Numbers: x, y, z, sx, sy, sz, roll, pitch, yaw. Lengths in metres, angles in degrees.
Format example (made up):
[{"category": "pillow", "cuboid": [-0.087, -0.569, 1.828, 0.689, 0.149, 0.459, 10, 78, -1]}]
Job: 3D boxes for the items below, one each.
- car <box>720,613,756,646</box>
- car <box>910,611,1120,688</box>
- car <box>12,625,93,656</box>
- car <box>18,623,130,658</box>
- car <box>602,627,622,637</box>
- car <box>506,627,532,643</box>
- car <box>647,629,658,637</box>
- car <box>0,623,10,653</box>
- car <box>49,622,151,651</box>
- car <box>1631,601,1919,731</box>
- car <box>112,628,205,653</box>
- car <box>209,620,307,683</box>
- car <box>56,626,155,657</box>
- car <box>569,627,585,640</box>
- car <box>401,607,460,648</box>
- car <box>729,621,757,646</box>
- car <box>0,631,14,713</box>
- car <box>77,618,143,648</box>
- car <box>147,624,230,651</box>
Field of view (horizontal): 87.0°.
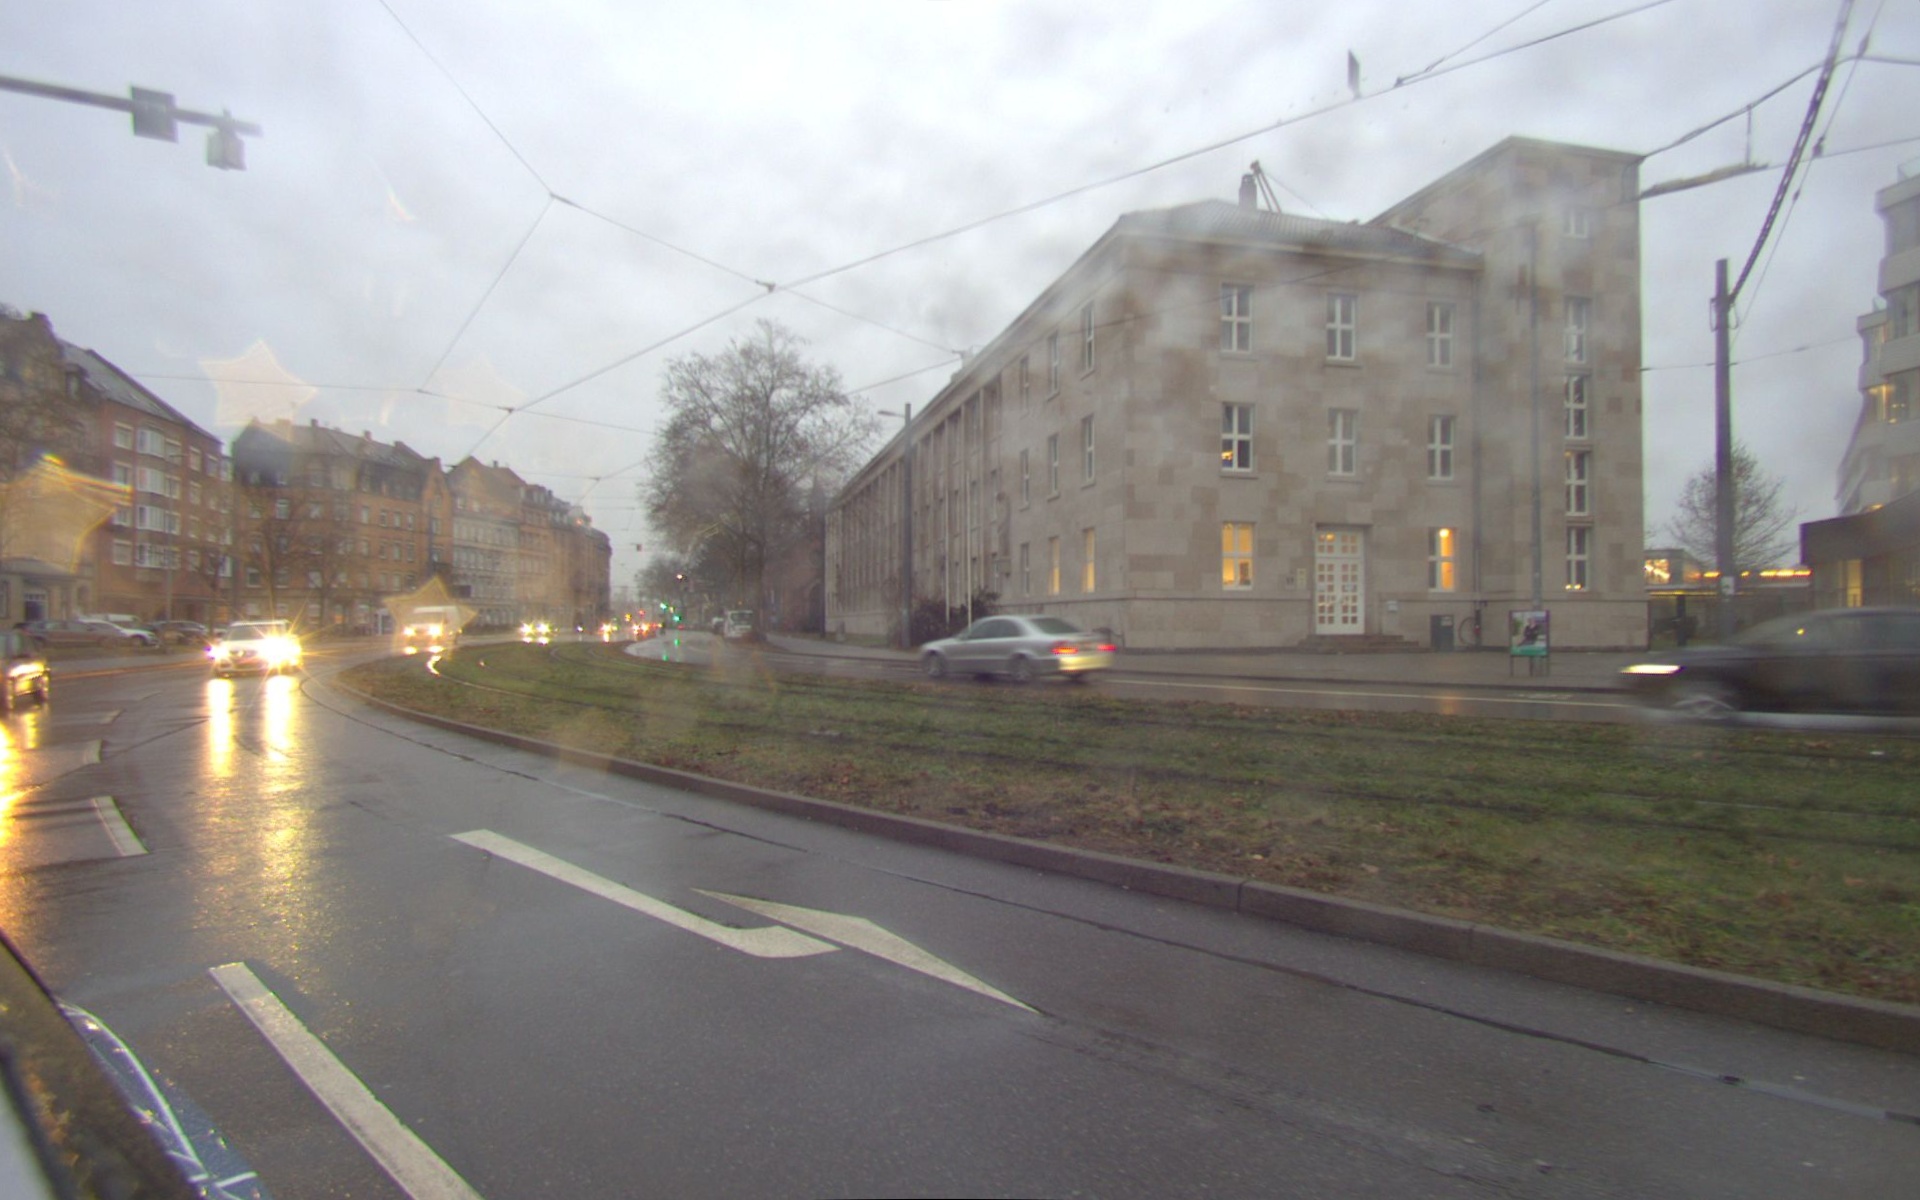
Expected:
[{"category": "car", "cuboid": [-14.568, 1.886, 66.176, 1.966, 2.029, 4.522, -2, 0, -15]}, {"category": "car", "cuboid": [1.093, 1.035, 22.218, 1.799, 1.446, 4.661, -2, 0, -42]}, {"category": "car", "cuboid": [-51.969, 2.288, 58.035, 1.666, 1.554, 4.010, -2, 0, -12]}, {"category": "car", "cuboid": [-40.844, 1.838, 46.698, 3.816, 1.416, 1.696, -2, 0, -44]}, {"category": "car", "cuboid": [-48.413, 4.464, 140.937, 1.867, 1.424, 3.953, 0, -2, -8]}, {"category": "car", "cuboid": [-47.774, 3.804, 109.750, 1.625, 1.763, 3.560, 0, -2, -7]}, {"category": "car", "cuboid": [-71.673, 7.695, 235.956, 1.923, 1.829, 4.006, 0, -1, -7]}, {"category": "car", "cuboid": [-50.591, 1.947, 51.507, 1.449, 1.555, 3.881, 0, -2, -12]}, {"category": "car", "cuboid": [-41.847, 1.744, 49.368, 3.706, 1.342, 1.605, 1, -2, -39]}, {"category": "car", "cuboid": [10.926, 0.753, 12.253, 4.518, 1.411, 1.640, -2, 0, 39]}, {"category": "car", "cuboid": [-42.597, 2.133, 53.826, 3.711, 1.288, 1.602, 1, -2, -45]}, {"category": "car", "cuboid": [-20.821, 1.461, 30.153, 1.646, 1.672, 4.161, -2, 0, -25]}, {"category": "car", "cuboid": [-42.892, 2.072, 50.891, 3.706, 1.341, 1.605, -2, 0, -39]}, {"category": "car", "cuboid": [-50.413, 4.389, 133.238, 1.694, 1.630, 3.950, 0, -2, -17]}, {"category": "car", "cuboid": [-33.288, 1.713, 63.785, 2.095, 2.398, 5.654, -2, 0, -16]}, {"category": "car", "cuboid": [-13.283, 2.022, 61.845, 1.535, 1.439, 2.963, 0, 0, -14]}, {"category": "car", "cuboid": [-18.341, 1.289, 18.366, 3.135, 1.437, 1.568, -2, -2, 44]}, {"category": "car", "cuboid": [-53.355, 2.042, 63.596, 1.648, 1.716, 3.473, -2, 0, -10]}, {"category": "car", "cuboid": [-43.977, 2.133, 57.716, 3.706, 1.364, 1.605, -2, 0, -39]}]
